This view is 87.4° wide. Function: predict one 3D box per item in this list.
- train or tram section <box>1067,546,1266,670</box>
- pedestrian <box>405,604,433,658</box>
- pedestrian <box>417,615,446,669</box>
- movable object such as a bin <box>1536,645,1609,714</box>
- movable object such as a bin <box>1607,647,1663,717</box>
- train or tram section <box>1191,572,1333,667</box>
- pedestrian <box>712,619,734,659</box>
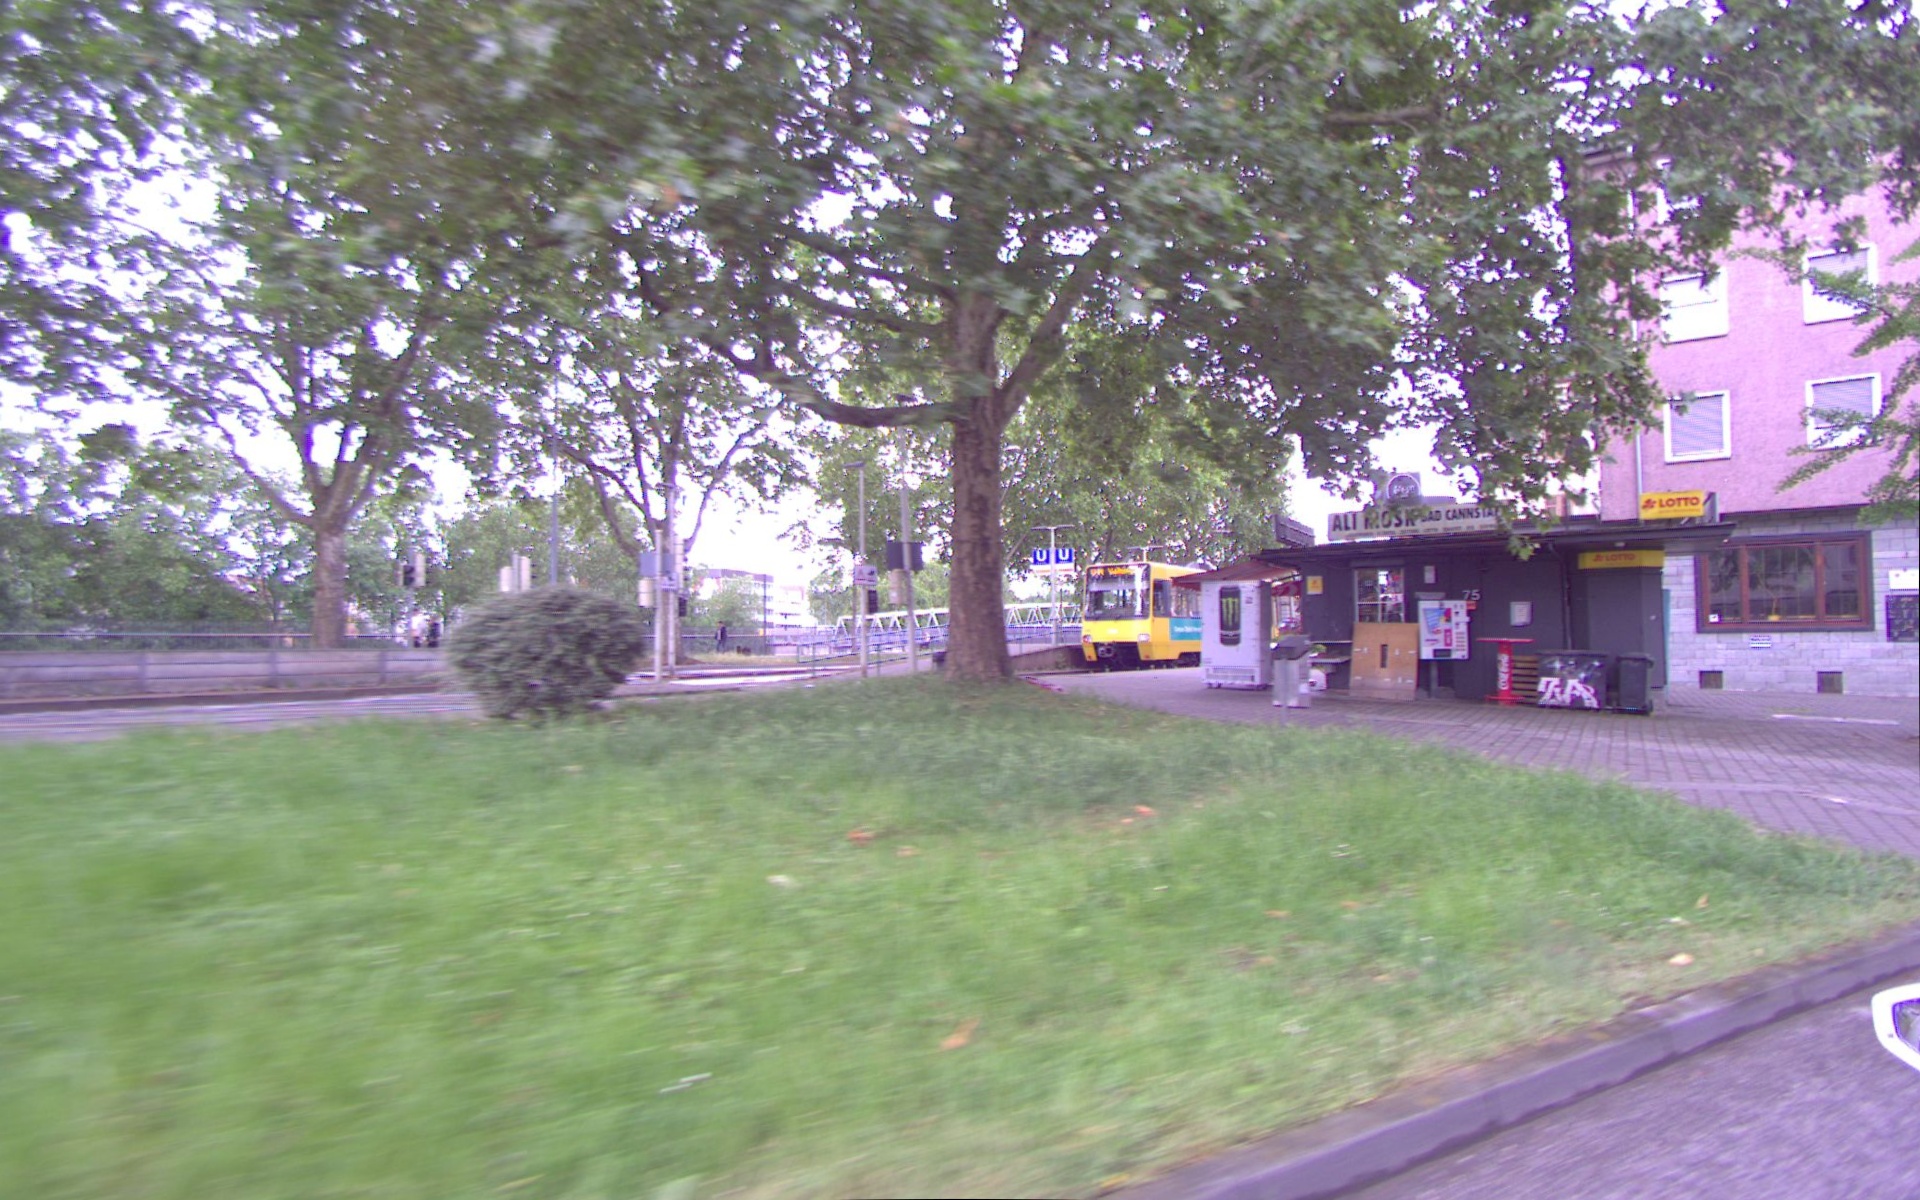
[{"bbox_3d":[7.720,0.466,35.790,2.875,3.720,10.977,3,-1,34],"label":"train or tram section"},{"bbox_3d":[-17.009,0.977,31.575,0.493,1.644,0.533,3,-1,33],"label":"pedestrian"},{"bbox_3d":[-16.265,1.292,30.920,0.493,1.644,0.533,3,-1,33],"label":"pedestrian"},{"bbox_3d":[10.024,1.272,16.449,0.951,0.977,1.110,3,2,32],"label":"movable object such as a bin"},{"bbox_3d":[10.750,1.288,16.028,0.661,0.977,1.076,3,2,32],"label":"movable object such as a bin"},{"bbox_3d":[13.767,1.018,44.932,2.875,3.720,10.977,3,-1,34],"label":"train or tram section"},{"bbox_3d":[-10.028,1.662,42.455,0.653,1.644,0.535,3,-1,11],"label":"pedestrian"}]
